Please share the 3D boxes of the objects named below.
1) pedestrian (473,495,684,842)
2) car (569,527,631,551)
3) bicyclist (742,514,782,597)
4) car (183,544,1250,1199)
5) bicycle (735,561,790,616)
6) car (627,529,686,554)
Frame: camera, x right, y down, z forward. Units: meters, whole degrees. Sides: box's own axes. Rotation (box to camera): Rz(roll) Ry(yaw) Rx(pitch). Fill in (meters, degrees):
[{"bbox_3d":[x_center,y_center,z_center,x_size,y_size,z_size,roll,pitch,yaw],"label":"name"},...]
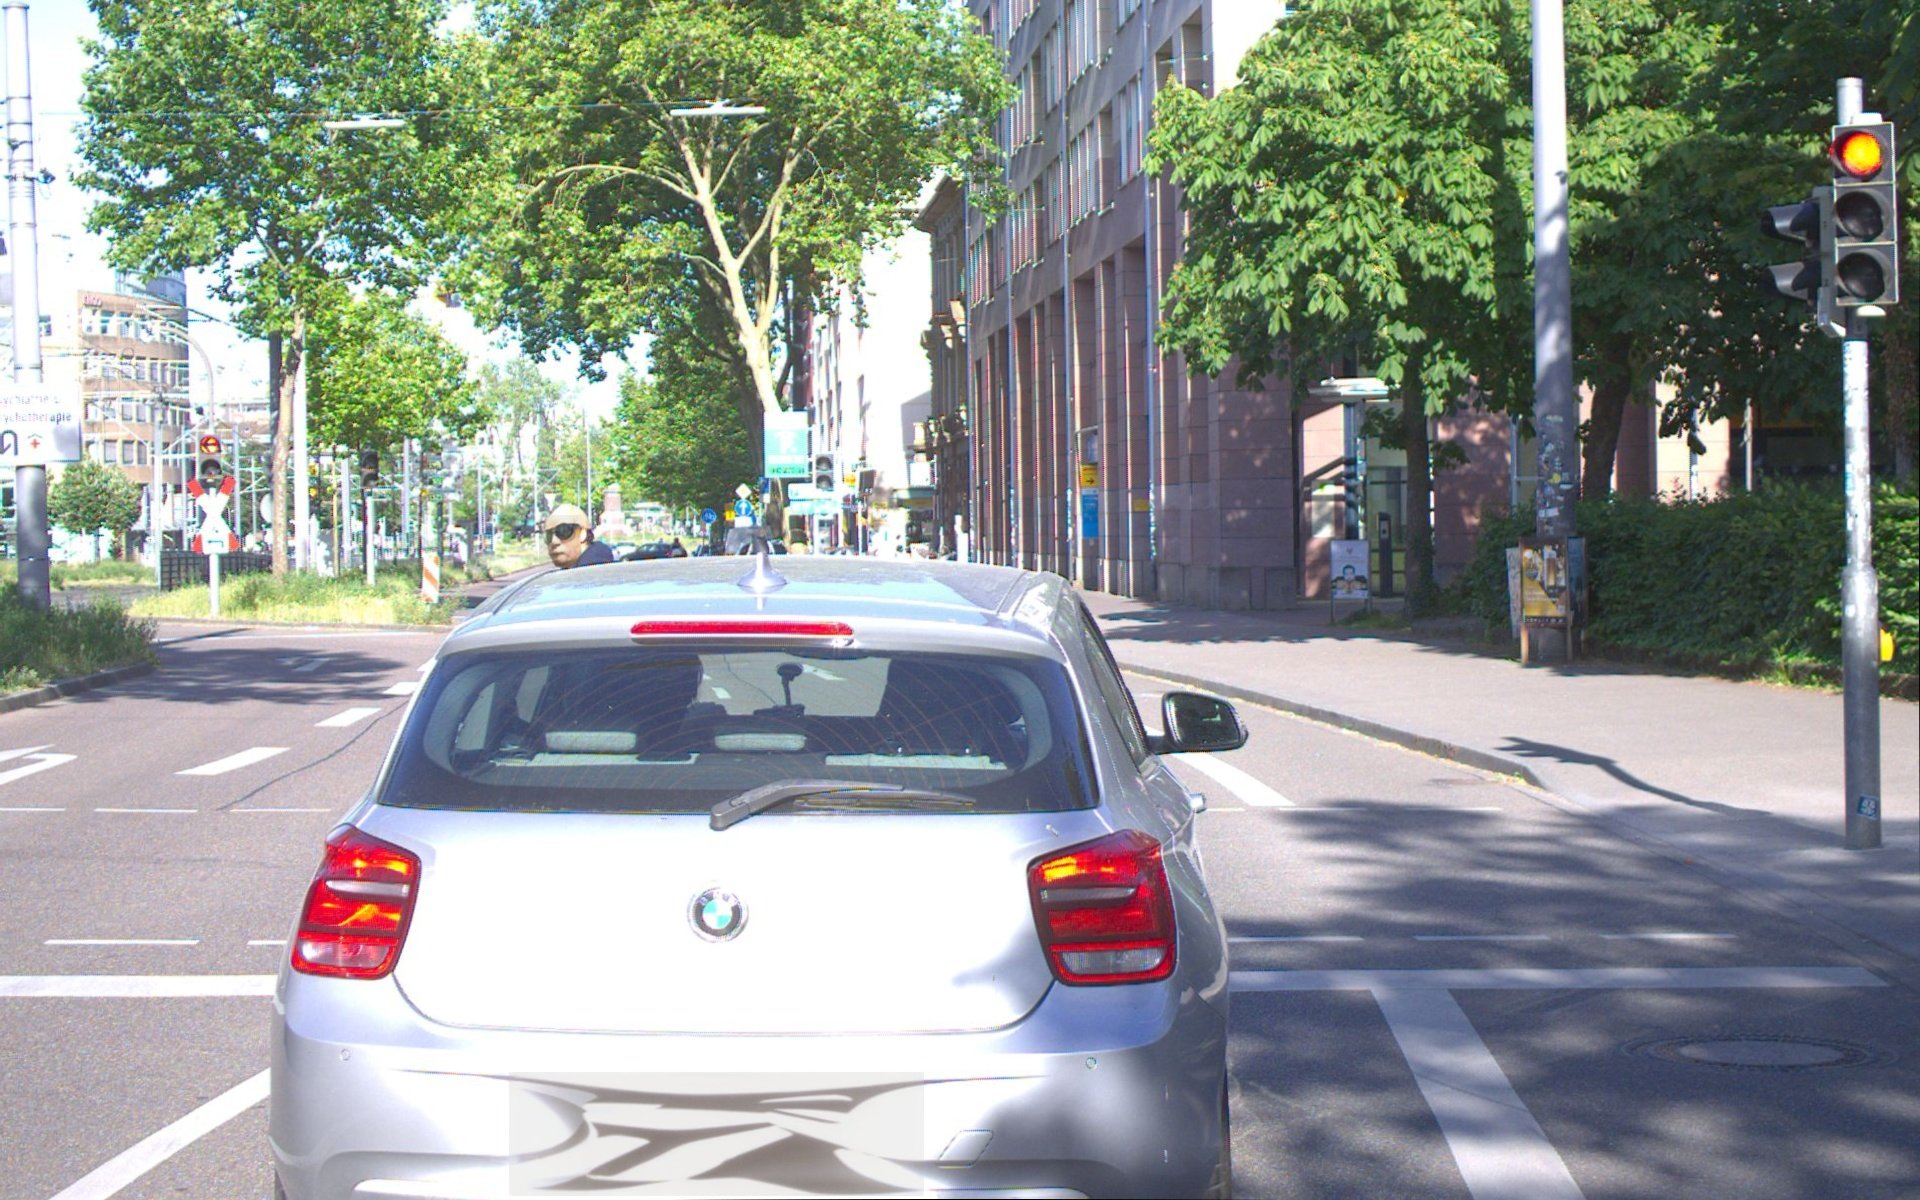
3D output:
[{"bbox_3d":[-1.840,0.316,16.522,0.940,1.623,0.629,0,1,-13],"label":"pedestrian"},{"bbox_3d":[-22.957,-3.891,219.040,1.994,1.481,3.999,-1,2,-40],"label":"car"},{"bbox_3d":[-3.982,-0.894,69.175,0.658,1.651,0.765,-1,1,5],"label":"bicyclist"},{"bbox_3d":[-0.316,0.618,7.505,1.730,1.385,3.840,1,2,3],"label":"car"},{"bbox_3d":[-3.964,-0.244,69.100,0.831,1.038,1.874,-1,1,5],"label":"bicycle"},{"bbox_3d":[-17.863,-3.437,202.233,1.993,1.481,4.000,-1,1,-29],"label":"car"}]
